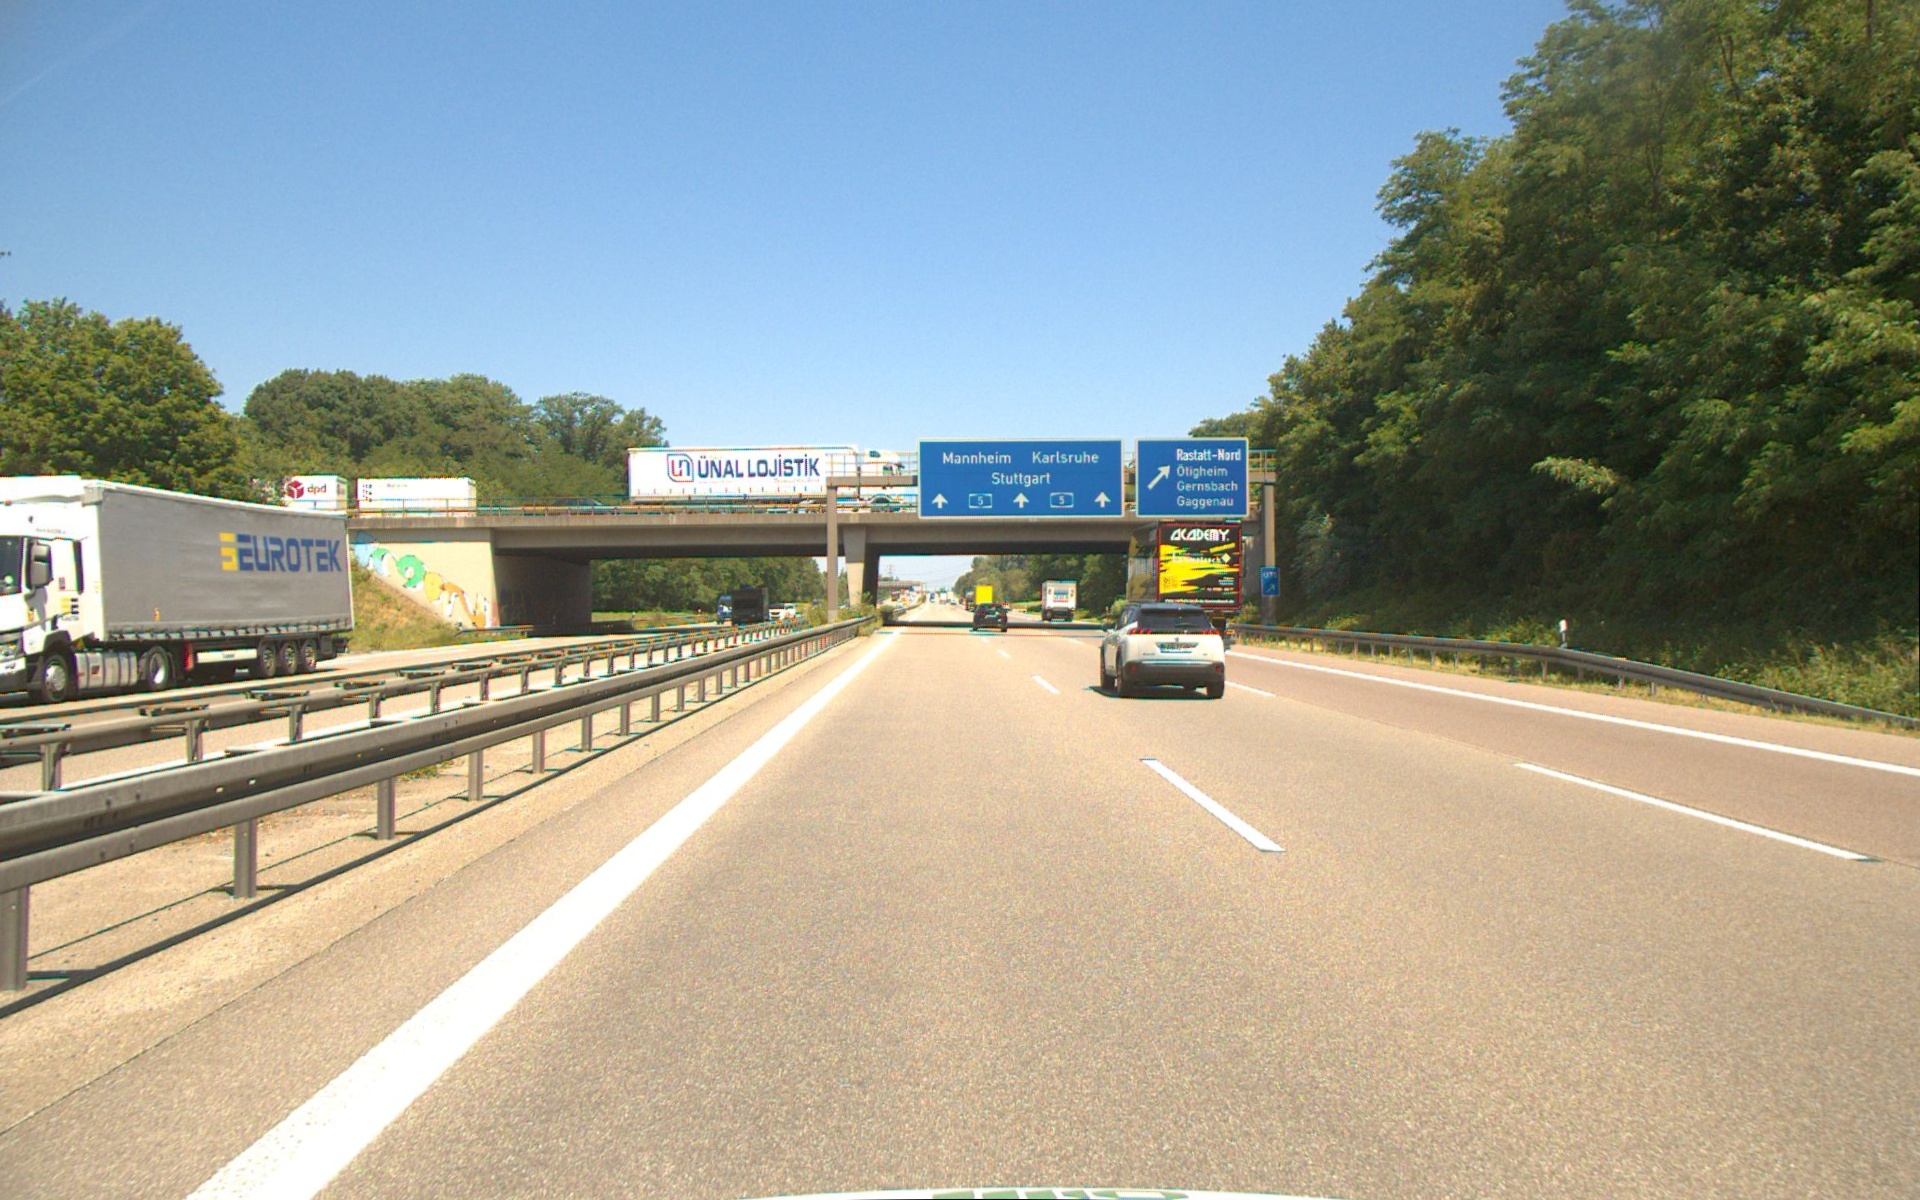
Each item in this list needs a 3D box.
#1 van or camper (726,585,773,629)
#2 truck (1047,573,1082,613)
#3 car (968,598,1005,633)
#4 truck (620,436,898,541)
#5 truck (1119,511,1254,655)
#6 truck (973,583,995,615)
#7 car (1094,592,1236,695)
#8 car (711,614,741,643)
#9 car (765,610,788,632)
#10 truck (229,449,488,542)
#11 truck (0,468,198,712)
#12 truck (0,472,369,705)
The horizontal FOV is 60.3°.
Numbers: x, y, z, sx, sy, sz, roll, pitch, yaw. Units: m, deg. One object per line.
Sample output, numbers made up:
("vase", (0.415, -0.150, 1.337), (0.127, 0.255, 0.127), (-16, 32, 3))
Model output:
("van or camper", (-14.930, 0.516, 117.737), (2.540, 2.957, 7.232), (1, 0, -1))
("truck", (9.170, -0.539, 145.869), (2.965, 3.377, 10.775), (1, 0, 3))
("car", (1.355, 0.790, 86.289), (1.790, 1.736, 3.999), (1, 0, -1))
("truck", (-11.884, -6.604, 98.954), (16.143, 5.663, 3.171), (1, -1, -6))
("truck", (7.135, -0.459, 53.772), (2.914, 4.107, 10.982), (2, 0, 1))
("truck", (3.815, -0.137, 265.868), (3.308, 4.966, 15.084), (1, 0, 0))
("car", (3.459, 0.706, 28.740), (1.790, 1.636, 4.807), (0, 0, -1))
("car", (-20.380, 2.484, 144.252), (2.047, 2.441, 5.731), (1, 0, -2))
("car", (-15.655, 1.752, 141.276), (1.657, 1.847, 4.712), (1, 0, -2))
("truck", (-40.761, -7.023, 112.653), (16.153, 5.663, 3.169), (1, -1, -9))
("truck", (-17.463, -0.097, 31.381), (2.909, 4.133, 6.457), (-3, 0, -1))
("truck", (-17.645, -0.177, 38.446), (3.004, 4.325, 13.956), (-3, 0, -2))
